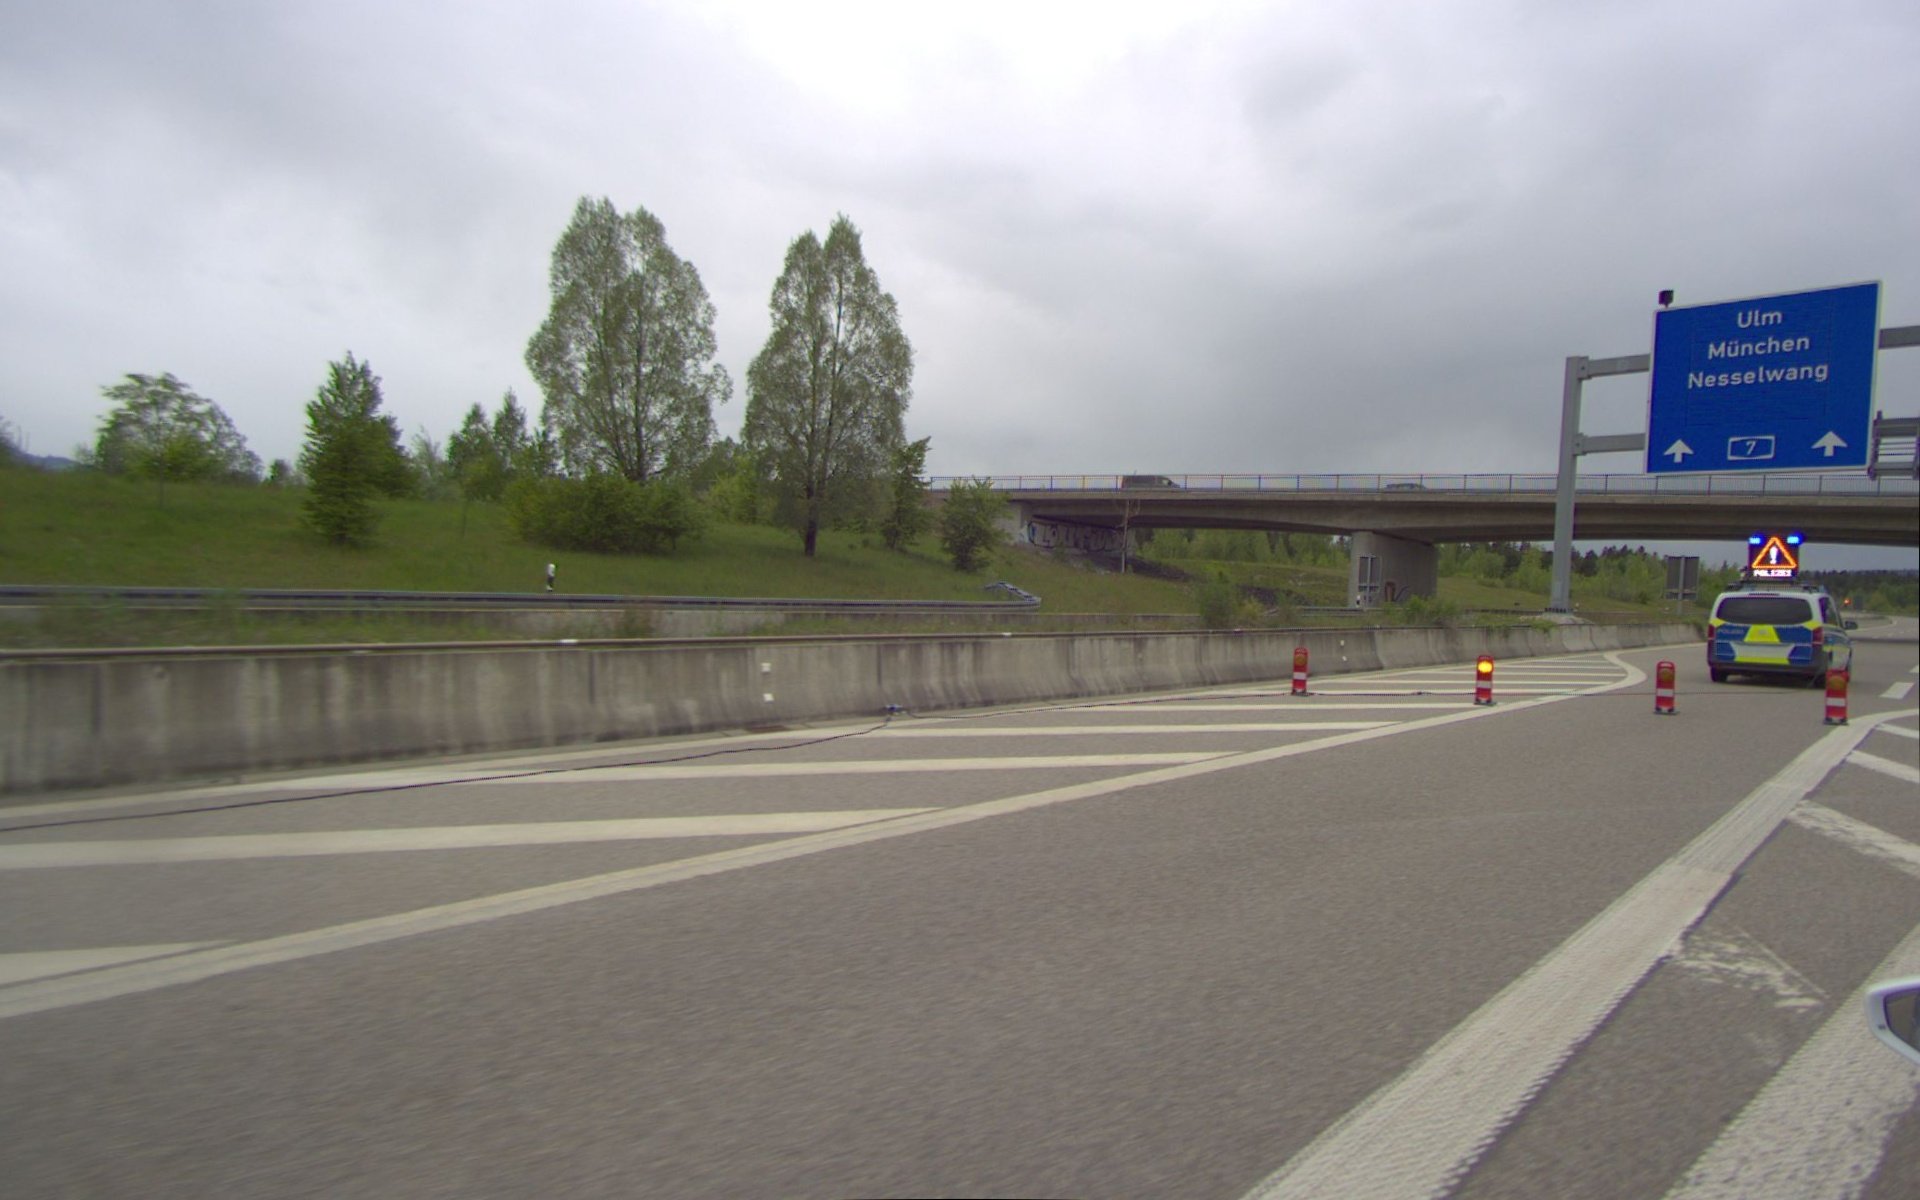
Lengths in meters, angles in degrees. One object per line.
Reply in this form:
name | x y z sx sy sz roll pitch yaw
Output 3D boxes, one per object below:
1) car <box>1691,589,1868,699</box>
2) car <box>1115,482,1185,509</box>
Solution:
car | 17.455 0.829 21.309 5.014 2.041 2.264 0 1 -43
car | 14.345 -7.884 75.885 4.844 1.670 1.999 1 0 24
